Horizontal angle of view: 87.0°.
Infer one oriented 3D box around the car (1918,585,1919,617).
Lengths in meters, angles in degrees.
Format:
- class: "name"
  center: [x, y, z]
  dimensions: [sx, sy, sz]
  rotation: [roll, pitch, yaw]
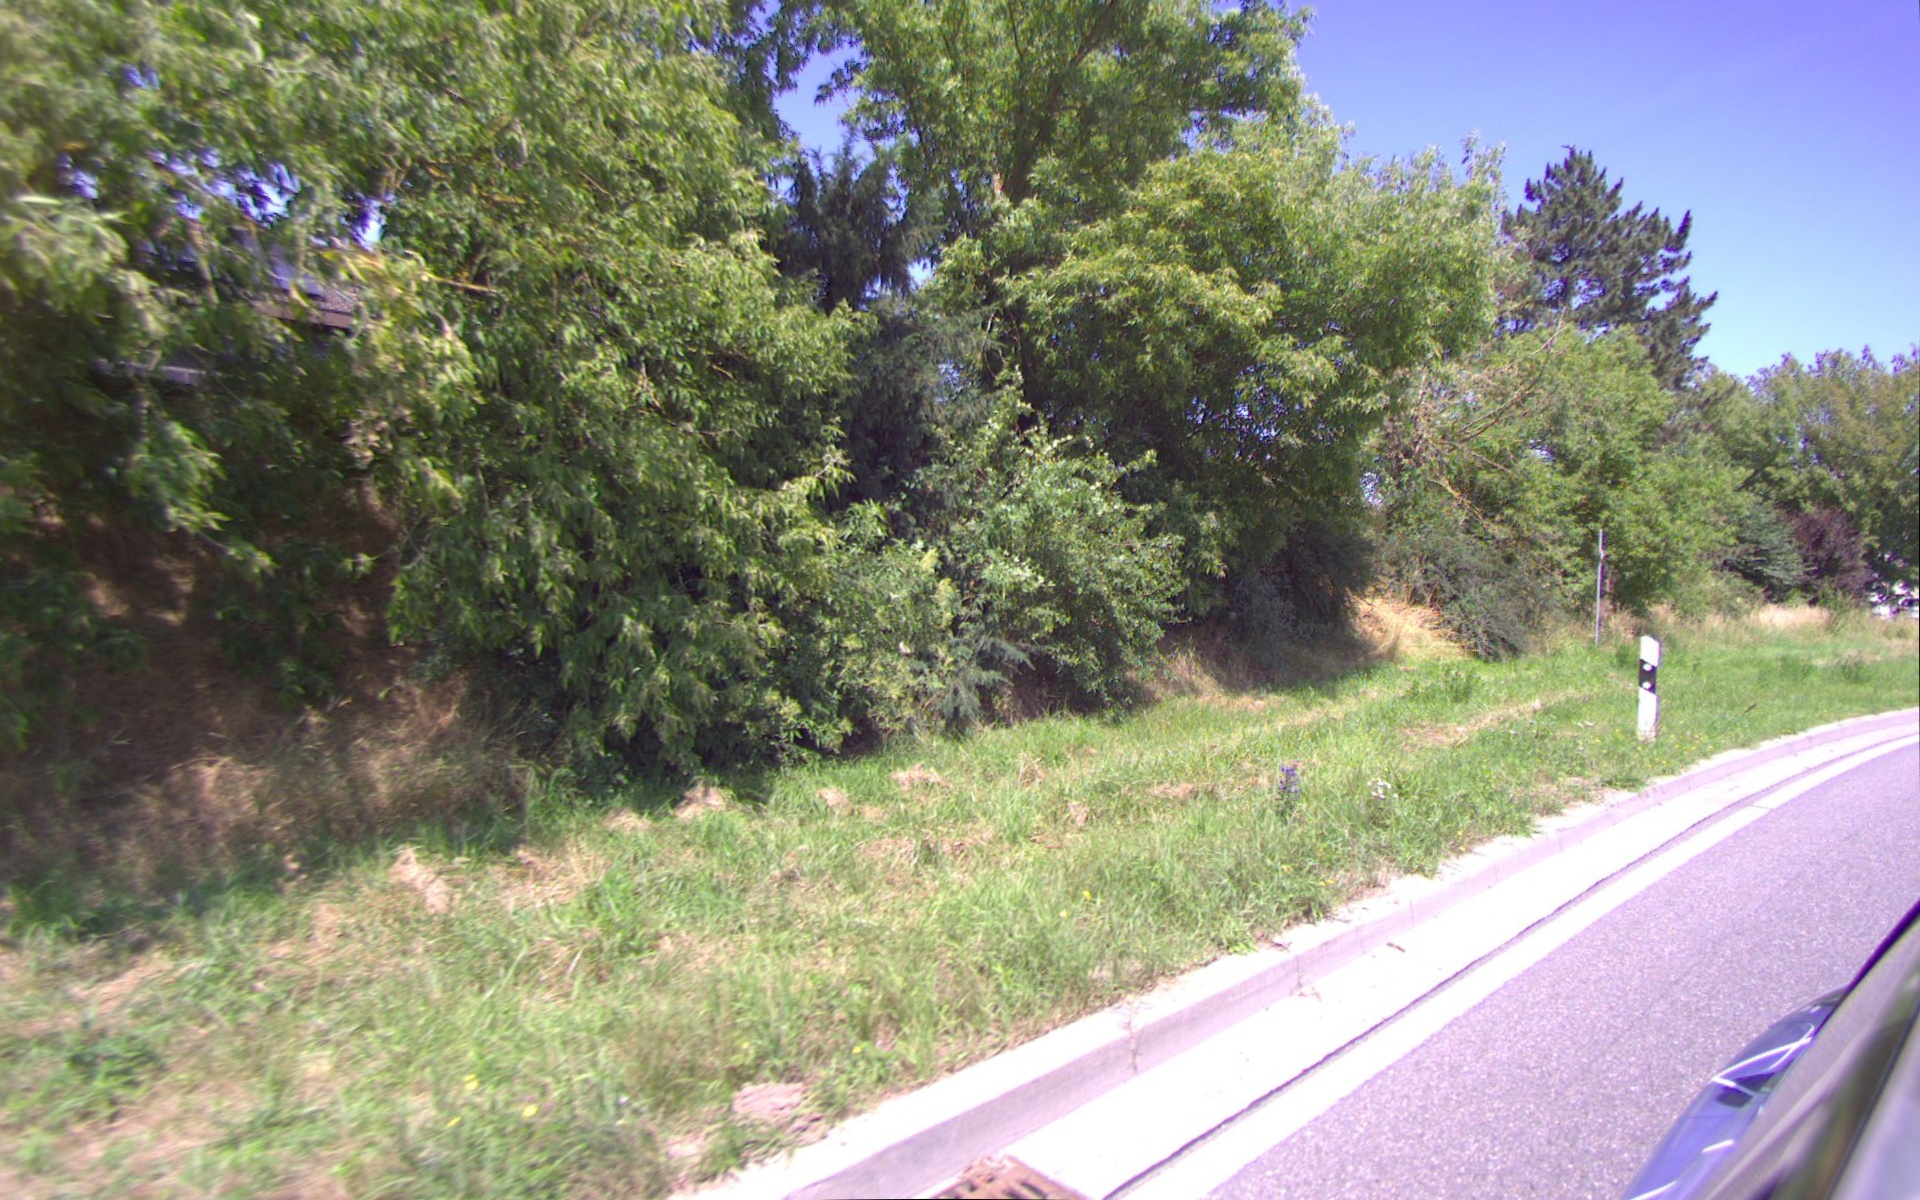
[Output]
- class: "car"
  center: [45.872, 0.123, 46.982]
  dimensions: [3.899, 1.460, 1.771]
  rotation: [2, 1, -43]
